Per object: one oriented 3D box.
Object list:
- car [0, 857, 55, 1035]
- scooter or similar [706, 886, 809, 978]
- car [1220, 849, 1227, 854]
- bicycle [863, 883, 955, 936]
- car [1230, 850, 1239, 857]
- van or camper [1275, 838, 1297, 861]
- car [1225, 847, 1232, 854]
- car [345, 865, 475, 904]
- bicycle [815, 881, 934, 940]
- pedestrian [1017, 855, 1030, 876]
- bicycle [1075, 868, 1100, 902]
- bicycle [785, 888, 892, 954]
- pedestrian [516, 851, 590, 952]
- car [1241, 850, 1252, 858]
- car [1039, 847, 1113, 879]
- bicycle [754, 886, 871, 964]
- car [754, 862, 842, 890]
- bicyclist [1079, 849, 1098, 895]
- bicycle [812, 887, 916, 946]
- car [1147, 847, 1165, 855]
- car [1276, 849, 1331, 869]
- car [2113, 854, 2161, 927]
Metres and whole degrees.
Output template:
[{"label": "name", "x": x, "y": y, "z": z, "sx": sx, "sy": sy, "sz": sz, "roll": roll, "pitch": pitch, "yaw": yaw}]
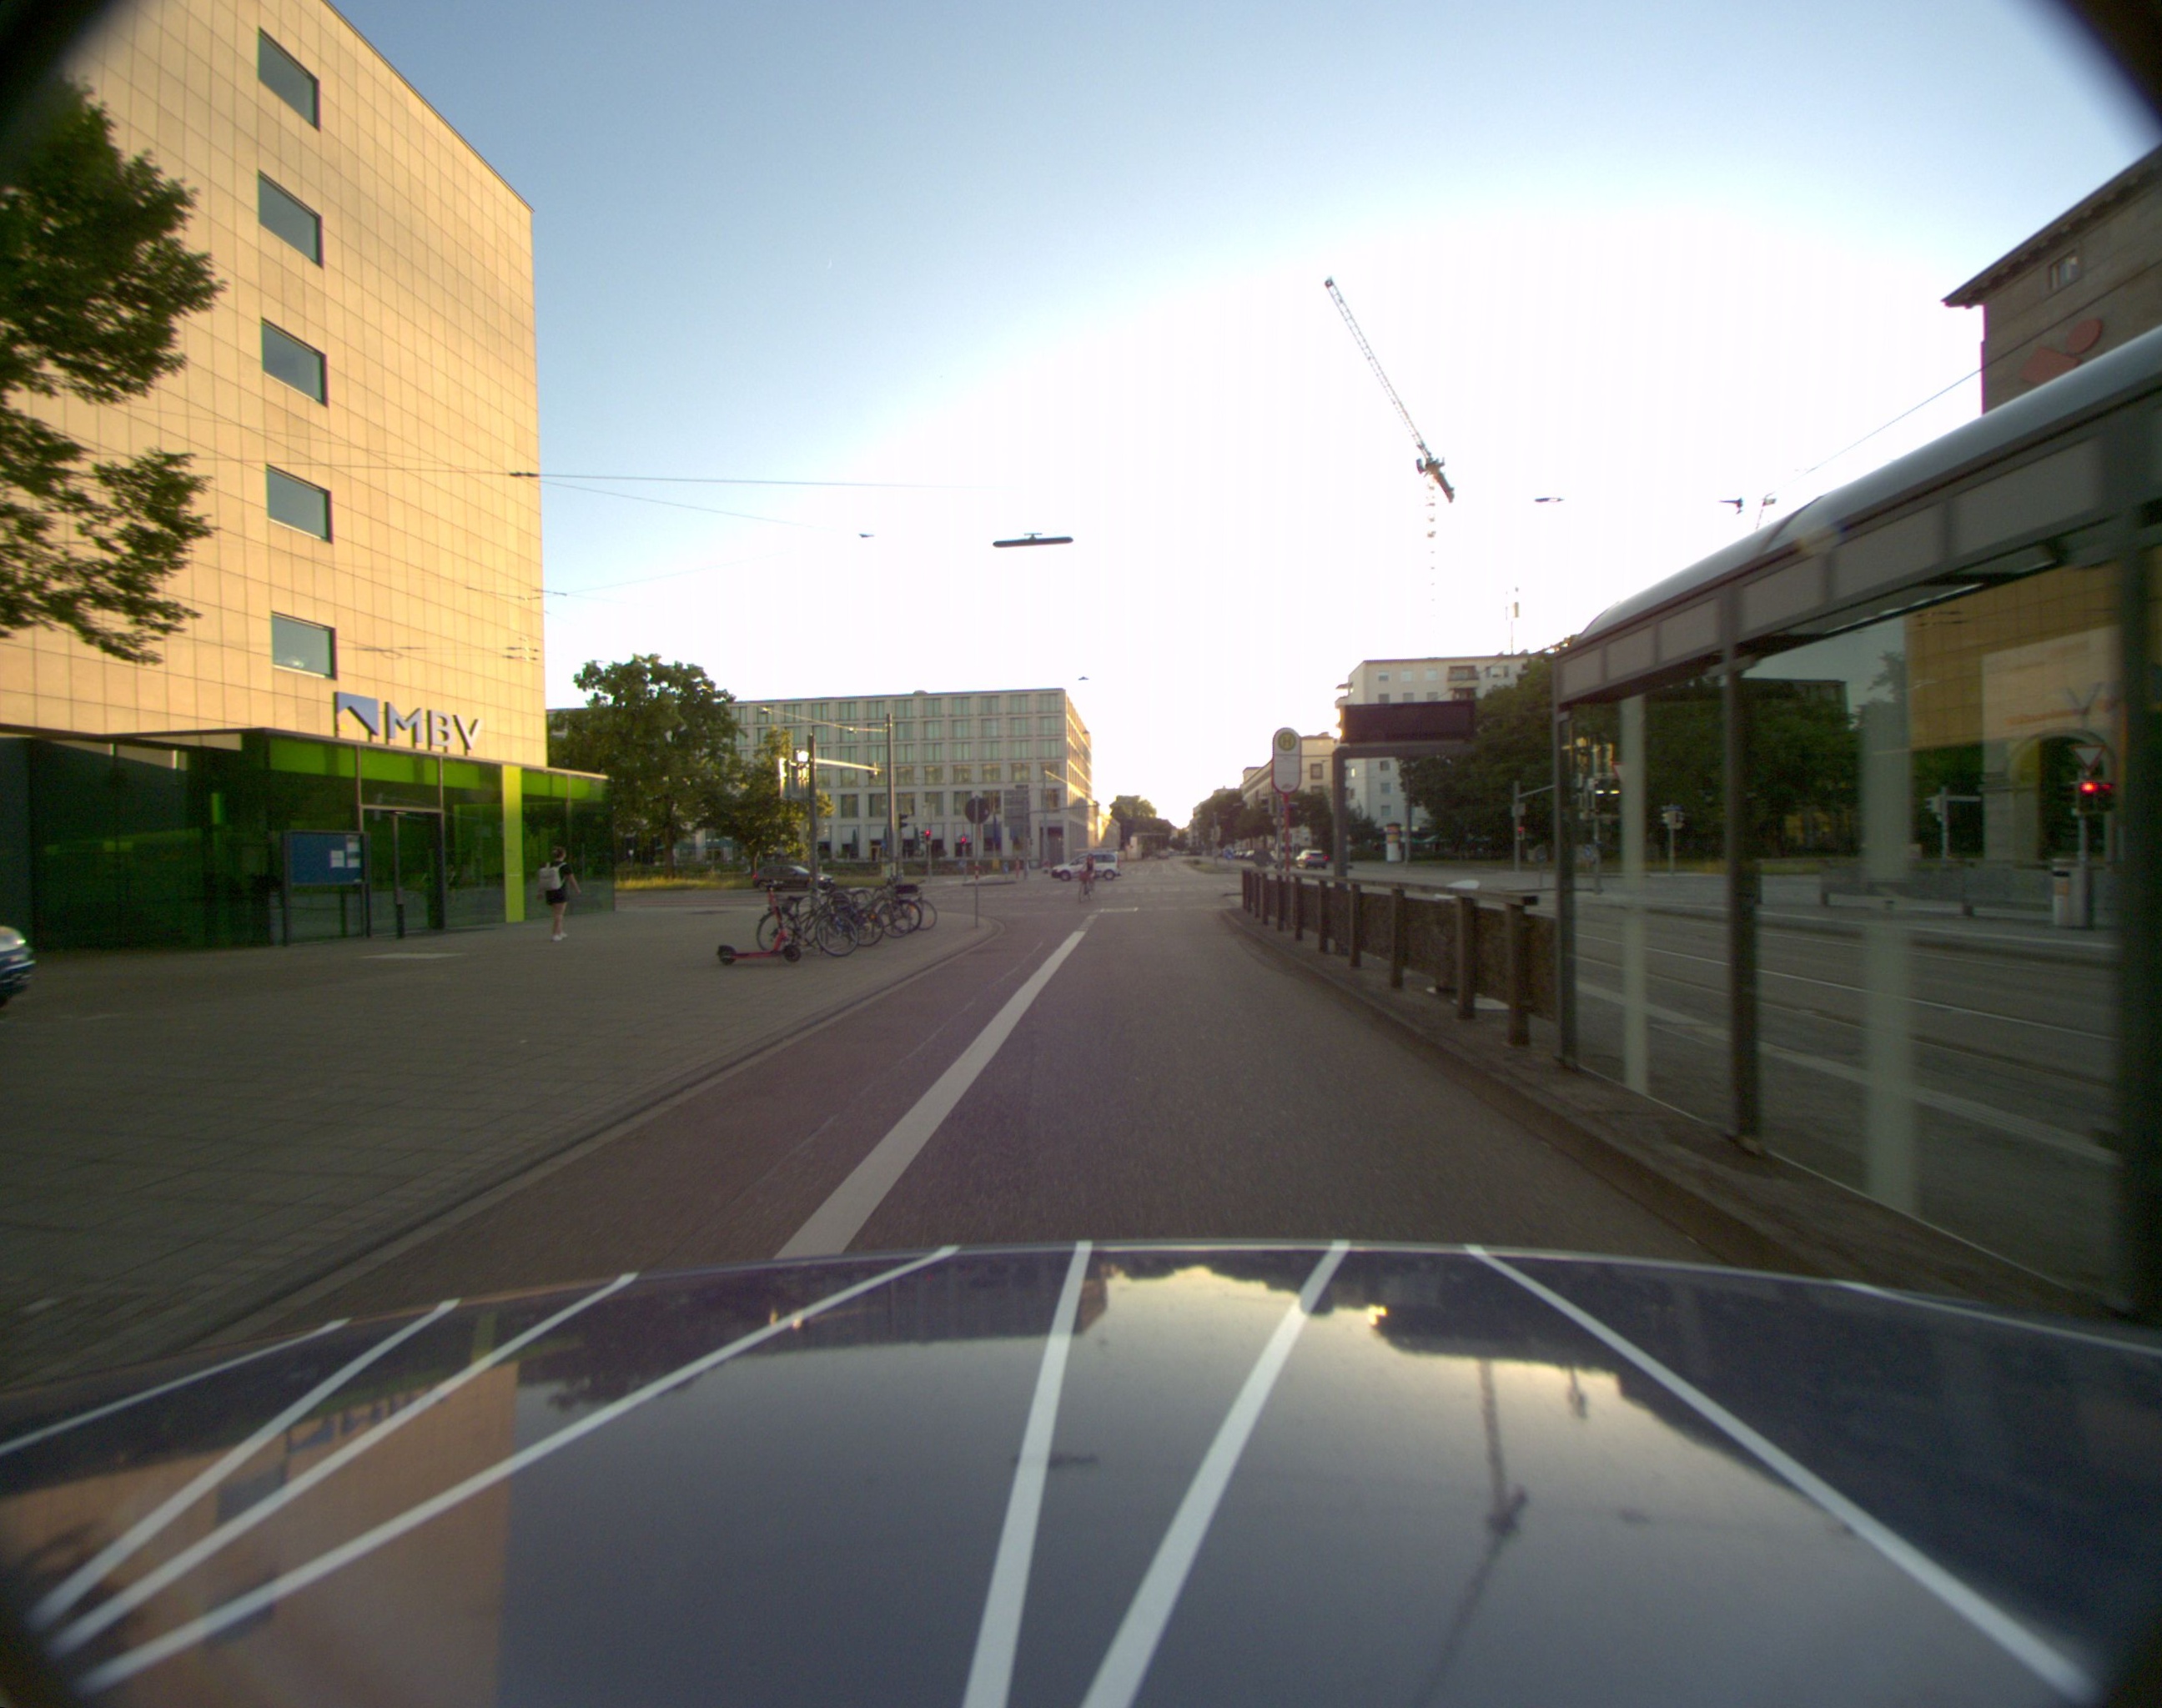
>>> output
[{"label": "car", "x": -11.603, "y": 0.841, "z": 6.351, "sx": 3.992, "sy": 1.564, "sz": 1.804, "roll": -1, "pitch": -1, "yaw": 6}, {"label": "scooter or similar", "x": -4.596, "y": 1.089, "z": 10.836, "sx": 1.202, "sy": 1.218, "sz": 0.591, "roll": 1, "pitch": 1, "yaw": 6}, {"label": "car", "x": 36.701, "y": -0.655, "z": 195.324, "sx": 1.721, "sy": 1.422, "sz": 3.812, "roll": -1, "pitch": 0, "yaw": 9}, {"label": "bicycle", "x": -3.746, "y": 1.183, "z": 16.534, "sx": 1.861, "sy": 1.068, "sz": 0.745, "roll": -1, "pitch": 0, "yaw": 24}, {"label": "car", "x": 32.541, "y": -0.115, "z": 160.651, "sx": 1.721, "sy": 1.422, "sz": 3.812, "roll": -1, "pitch": 0, "yaw": 9}, {"label": "van or camper", "x": 25.778, "y": -0.490, "z": 95.656, "sx": 2.109, "sy": 2.665, "sz": 4.715, "roll": -2, "pitch": -2, "yaw": 8}, {"label": "car", "x": 35.397, "y": -0.815, "z": 182.535, "sx": 1.721, "sy": 1.478, "sz": 3.813, "roll": -2, "pitch": 0, "yaw": 10}, {"label": "car", "x": -27.066, "y": 1.223, "z": 30.696, "sx": 3.863, "sy": 1.403, "sz": 1.698, "roll": -1, "pitch": 3, "yaw": 6}, {"label": "bicycle", "x": -4.216, "y": 1.136, "z": 15.572, "sx": 2.234, "sy": 1.125, "sz": 0.744, "roll": 0, "pitch": 1, "yaw": 8}, {"label": "pedestrian", "x": -4.580, "y": 0.919, "z": 60.322, "sx": 0.736, "sy": 1.617, "sz": 0.727, "roll": -1, "pitch": 1, "yaw": 38}, {"label": "bicycle", "x": 0.235, "y": 1.058, "z": 26.755, "sx": 0.609, "sy": 1.108, "sz": 2.087, "roll": -1, "pitch": 0, "yaw": 7}, {"label": "bicycle", "x": -4.162, "y": 1.143, "z": 13.089, "sx": 1.554, "sy": 1.068, "sz": 0.744, "roll": -1, "pitch": 0, "yaw": 8}, {"label": "pedestrian", "x": -9.565, "y": 0.829, "z": 13.806, "sx": 0.708, "sy": 1.757, "sz": 0.988, "roll": -1, "pitch": 1, "yaw": -9}, {"label": "car", "x": 30.835, "y": 0.046, "z": 141.367, "sx": 1.721, "sy": 1.422, "sz": 3.812, "roll": -1, "pitch": 0, "yaw": 9}, {"label": "car", "x": -0.264, "y": 0.558, "z": 47.863, "sx": 4.460, "sy": 1.900, "sz": 1.806, "roll": -1, "pitch": 0, "yaw": 5}, {"label": "bicycle", "x": -4.200, "y": 1.102, "z": 11.944, "sx": 1.529, "sy": 1.156, "sz": 0.744, "roll": -1, "pitch": 0, "yaw": 8}, {"label": "car", "x": -15.402, "y": 1.209, "z": 41.498, "sx": 4.168, "sy": 1.412, "sz": 1.699, "roll": -1, "pitch": 1, "yaw": 8}, {"label": "bicyclist", "x": 0.269, "y": 0.637, "z": 26.989, "sx": 0.609, "sy": 1.626, "sz": 0.597, "roll": -1, "pitch": 1, "yaw": 7}, {"label": "bicycle", "x": -4.189, "y": 1.204, "z": 14.752, "sx": 1.758, "sy": 1.068, "sz": 0.744, "roll": -1, "pitch": 0, "yaw": 8}, {"label": "car", "x": 16.578, "y": -0.703, "z": 168.375, "sx": 3.805, "sy": 1.639, "sz": 1.864, "roll": -1, "pitch": 0, "yaw": 6}, {"label": "car", "x": 19.256, "y": 0.394, "z": 65.949, "sx": 1.890, "sy": 1.654, "sz": 4.334, "roll": -1, "pitch": 0, "yaw": -34}, {"label": "car", "x": 21.861, "y": 0.716, "z": 13.467, "sx": 1.646, "sy": 1.419, "sz": 4.234, "roll": -1, "pitch": 0, "yaw": 6}]
